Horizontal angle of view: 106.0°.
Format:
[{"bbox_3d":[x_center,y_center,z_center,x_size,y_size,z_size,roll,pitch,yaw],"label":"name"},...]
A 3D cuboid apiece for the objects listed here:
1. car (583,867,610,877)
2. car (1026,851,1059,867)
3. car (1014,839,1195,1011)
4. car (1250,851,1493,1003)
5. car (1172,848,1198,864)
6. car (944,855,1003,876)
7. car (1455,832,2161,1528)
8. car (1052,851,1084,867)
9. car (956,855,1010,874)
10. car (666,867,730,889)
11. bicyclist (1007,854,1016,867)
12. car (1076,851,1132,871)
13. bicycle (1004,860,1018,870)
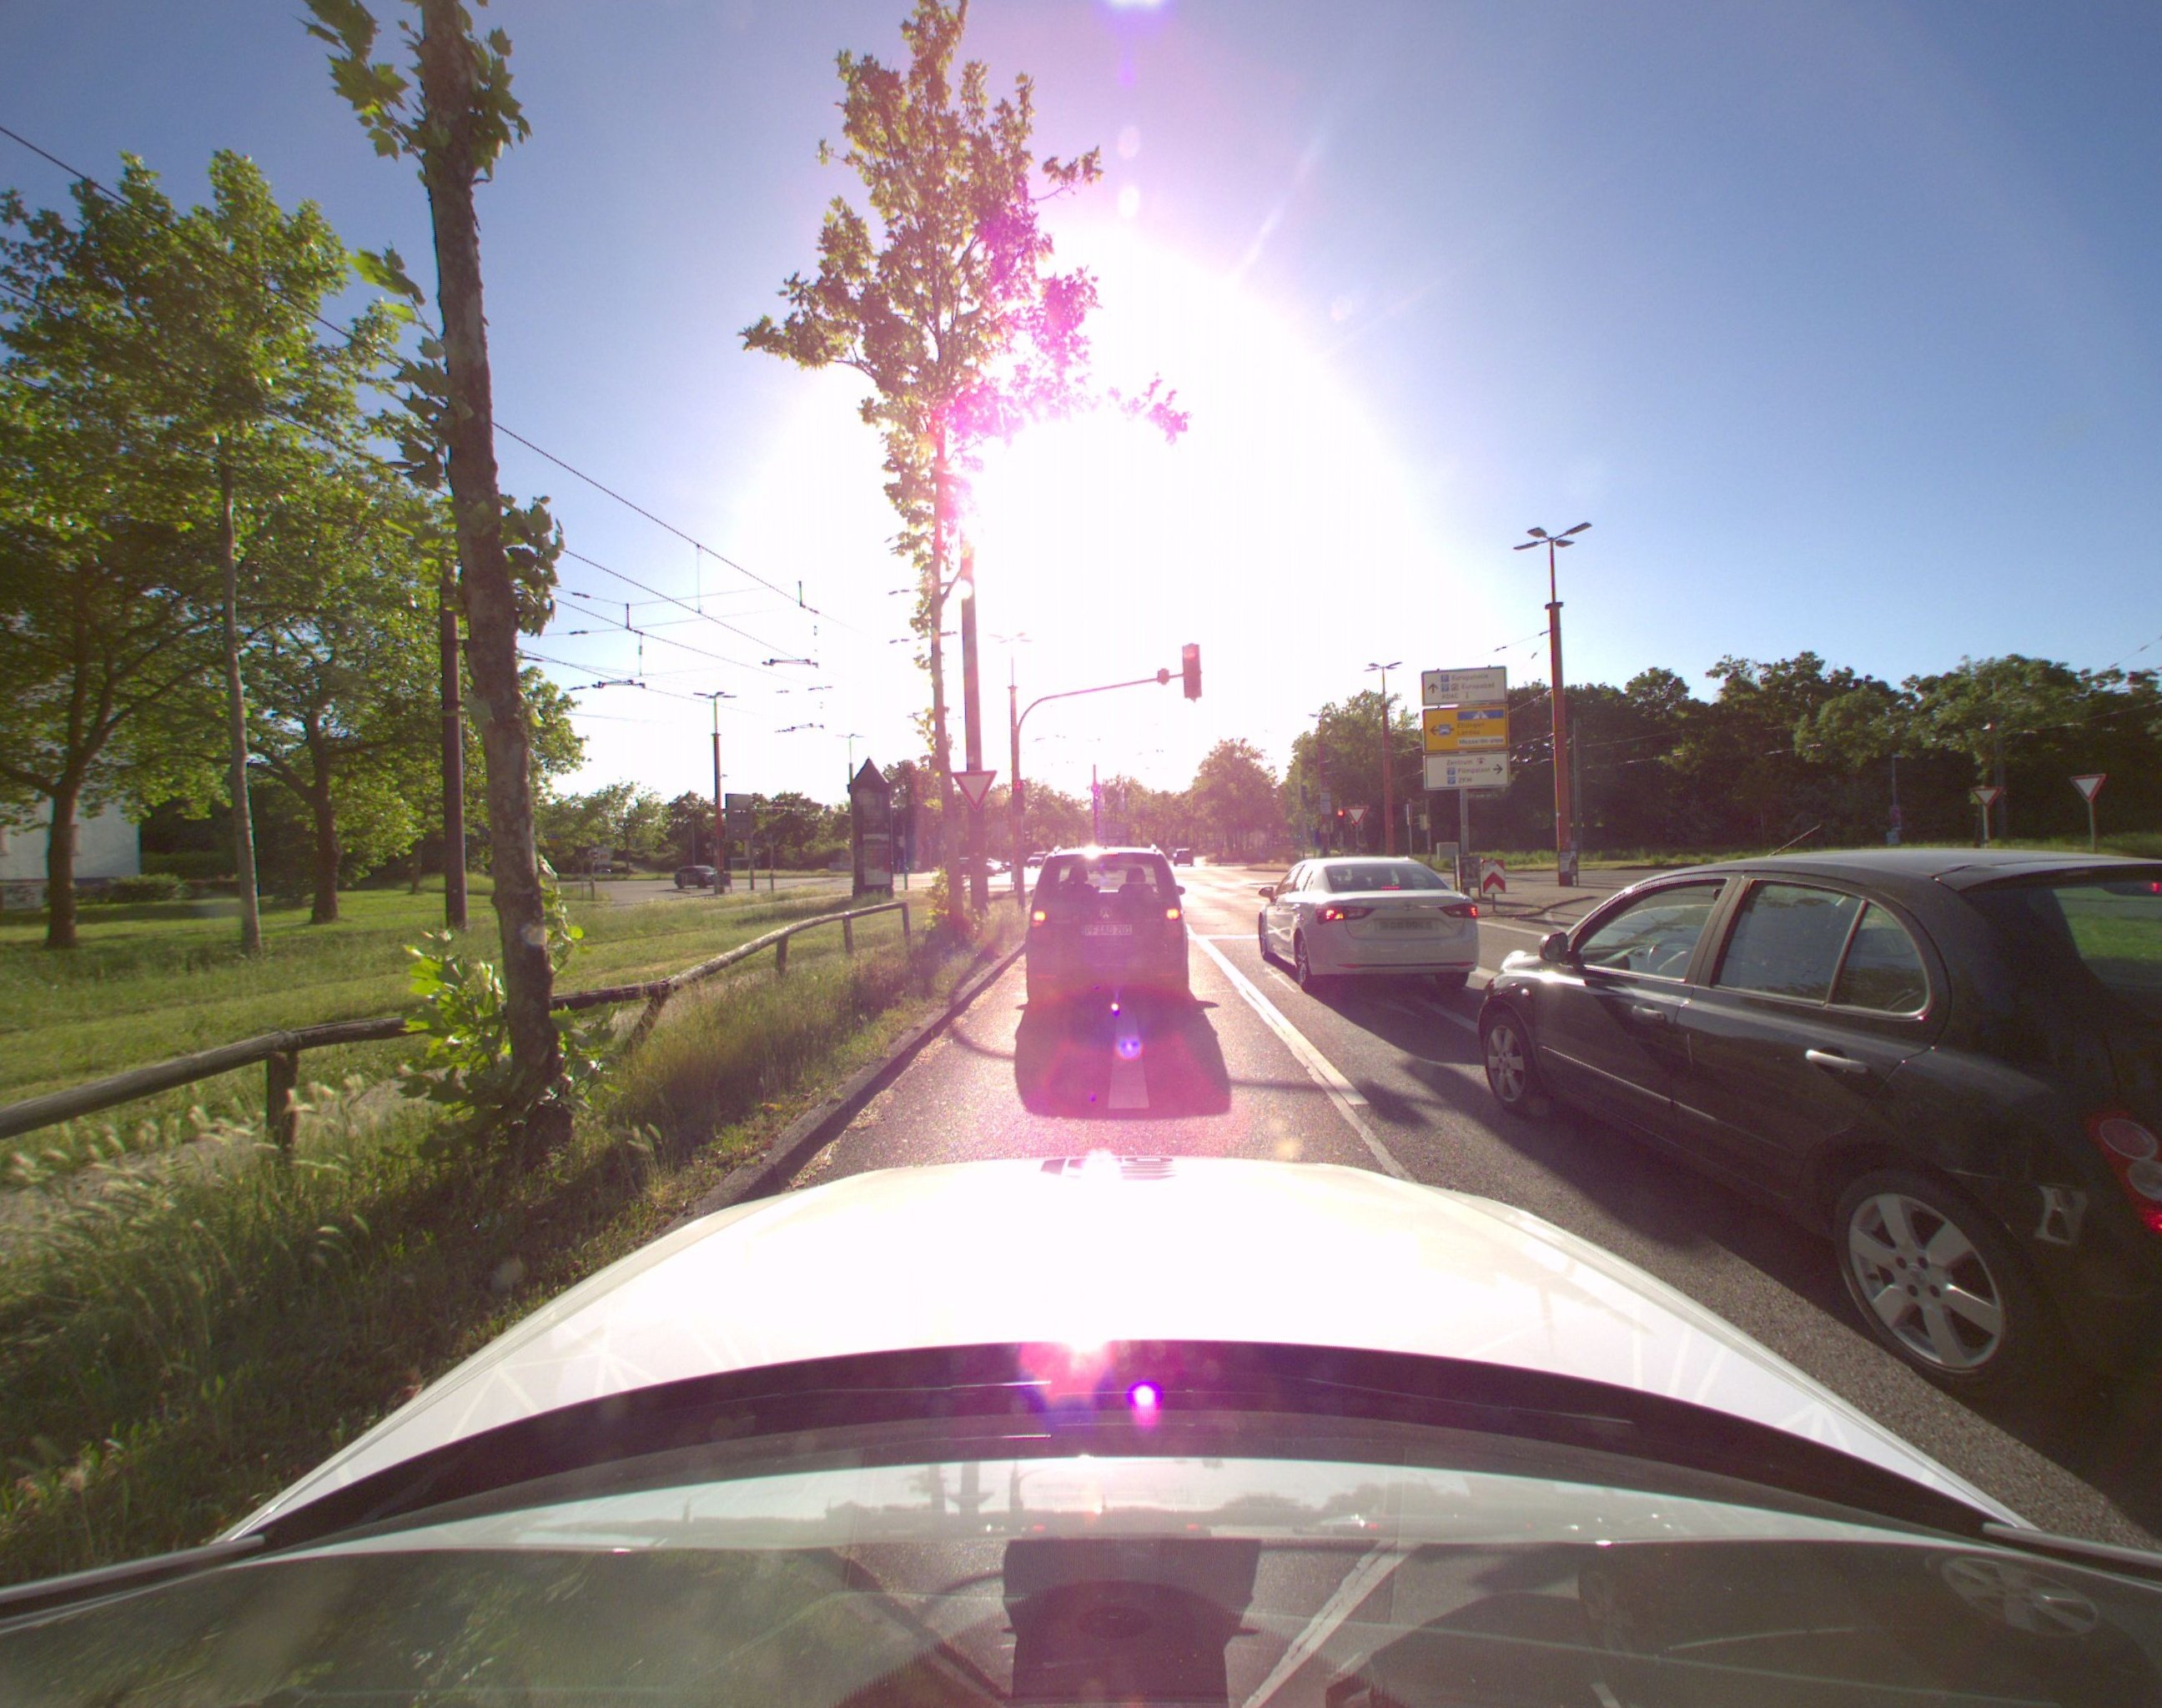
[{"bbox_3d":[-67.802,2.470,113.987,3.766,1.310,1.673,-2,0,30],"label":"car"},{"bbox_3d":[-4.357,0.570,93.517,1.977,1.684,4.853,-2,0,20],"label":"car"},{"bbox_3d":[0.293,0.698,9.978,1.731,1.641,4.002,-2,0,2],"label":"car"},{"bbox_3d":[3.294,0.721,10.106,1.708,1.454,4.147,-2,0,3],"label":"car"},{"bbox_3d":[10.206,0.216,79.829,1.894,1.464,4.392,-1,0,15],"label":"car"},{"bbox_3d":[-8.146,0.884,61.986,4.214,1.464,1.913,-2,0,-1],"label":"car"},{"bbox_3d":[3.164,0.695,3.502,1.550,1.506,3.517,-2,0,2],"label":"car"},{"bbox_3d":[-1.411,0.520,91.988,1.977,1.684,4.853,-2,0,20],"label":"car"},{"bbox_3d":[-8.105,0.898,67.494,4.008,1.464,1.924,-2,0,21],"label":"car"},{"bbox_3d":[-29.493,1.846,62.747,4.589,1.543,2.012,-2,0,26],"label":"car"},{"bbox_3d":[-8.112,0.762,95.004,0.686,1.457,0.879,-2,-1,20],"label":"bicyclist"},{"bbox_3d":[1.875,0.519,64.978,4.069,1.464,1.895,-1,0,-31],"label":"car"},{"bbox_3d":[-8.142,1.229,94.783,0.728,1.090,1.971,-2,0,21],"label":"bicycle"}]
